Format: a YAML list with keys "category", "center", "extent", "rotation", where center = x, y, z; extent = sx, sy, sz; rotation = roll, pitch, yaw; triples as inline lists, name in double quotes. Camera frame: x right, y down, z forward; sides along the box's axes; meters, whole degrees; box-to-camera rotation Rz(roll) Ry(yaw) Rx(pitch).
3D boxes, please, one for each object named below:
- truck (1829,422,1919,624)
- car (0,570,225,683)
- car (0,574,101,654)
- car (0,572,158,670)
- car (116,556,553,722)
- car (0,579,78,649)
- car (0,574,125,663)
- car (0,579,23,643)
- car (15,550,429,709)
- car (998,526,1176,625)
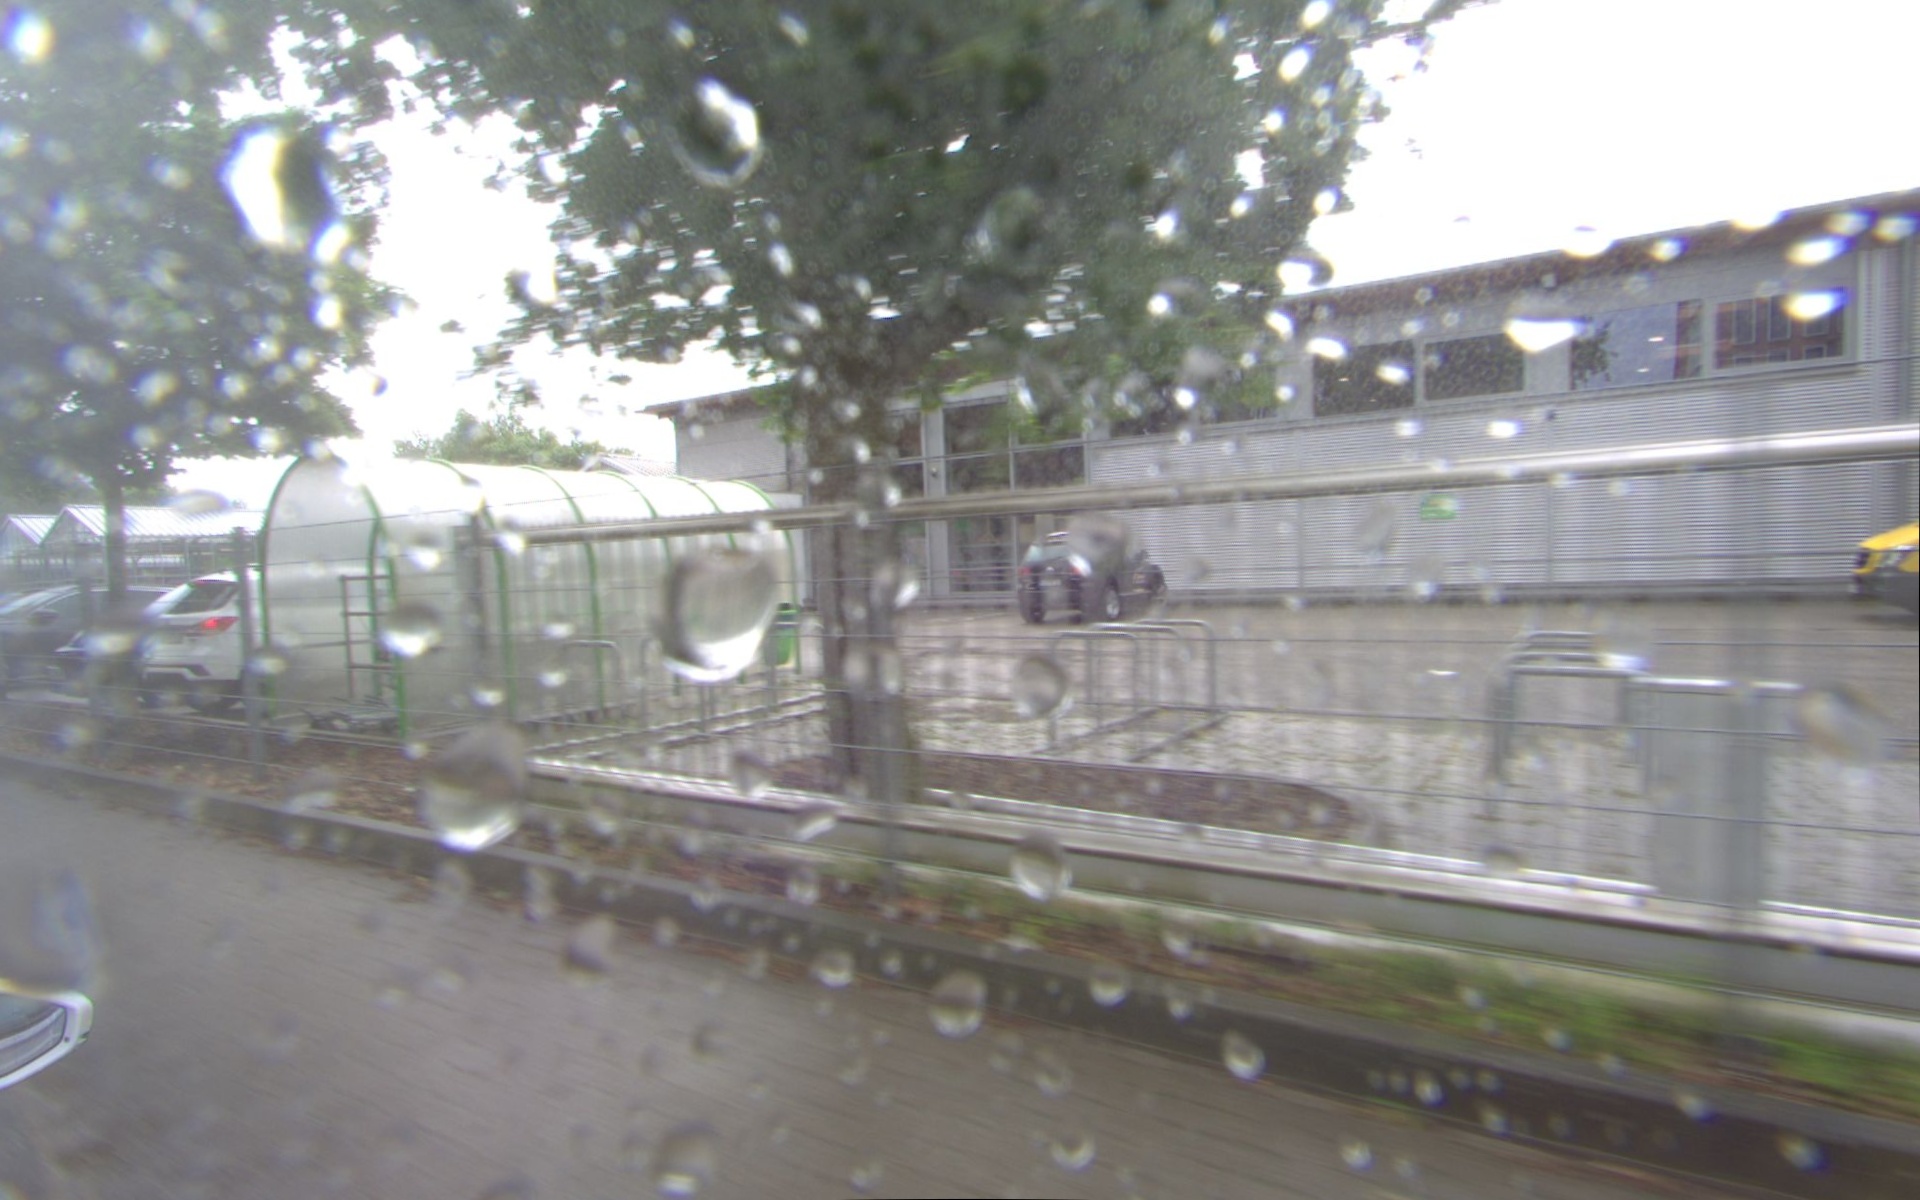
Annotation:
- category: "truck"
  center: [15.868, -1.132, 12.512]
  extent: [7.317, 2.697, 2.292]
  rotation: [-1, 4, 36]
- category: "car"
  center: [-15.050, 0.401, 16.619]
  extent: [1.794, 1.641, 4.205]
  rotation: [0, 3, 25]
- category: "car"
  center: [-21.259, 0.351, 21.215]
  extent: [1.794, 1.641, 4.205]
  rotation: [0, 3, 25]
- category: "car"
  center: [-17.460, 0.392, 18.104]
  extent: [1.794, 1.641, 4.205]
  rotation: [0, 3, 25]
- category: "car"
  center: [-7.482, 0.330, 12.459]
  extent: [1.797, 1.623, 4.198]
  rotation: [0, 3, 31]
- category: "car"
  center: [-23.155, 0.386, 22.787]
  extent: [1.794, 1.555, 4.205]
  rotation: [-1, 3, 25]
- category: "car"
  center: [-19.161, 0.395, 19.366]
  extent: [1.794, 1.641, 4.205]
  rotation: [0, 3, 25]
- category: "car"
  center: [-25.543, 0.377, 23.902]
  extent: [1.794, 1.610, 4.205]
  rotation: [0, 3, 25]
- category: "car"
  center: [-9.930, 0.262, 13.917]
  extent: [1.794, 1.819, 4.205]
  rotation: [0, 3, 25]
- category: "car"
  center: [2.820, -0.595, 21.334]
  extent: [2.034, 1.858, 4.348]
  rotation: [0, 4, 33]
